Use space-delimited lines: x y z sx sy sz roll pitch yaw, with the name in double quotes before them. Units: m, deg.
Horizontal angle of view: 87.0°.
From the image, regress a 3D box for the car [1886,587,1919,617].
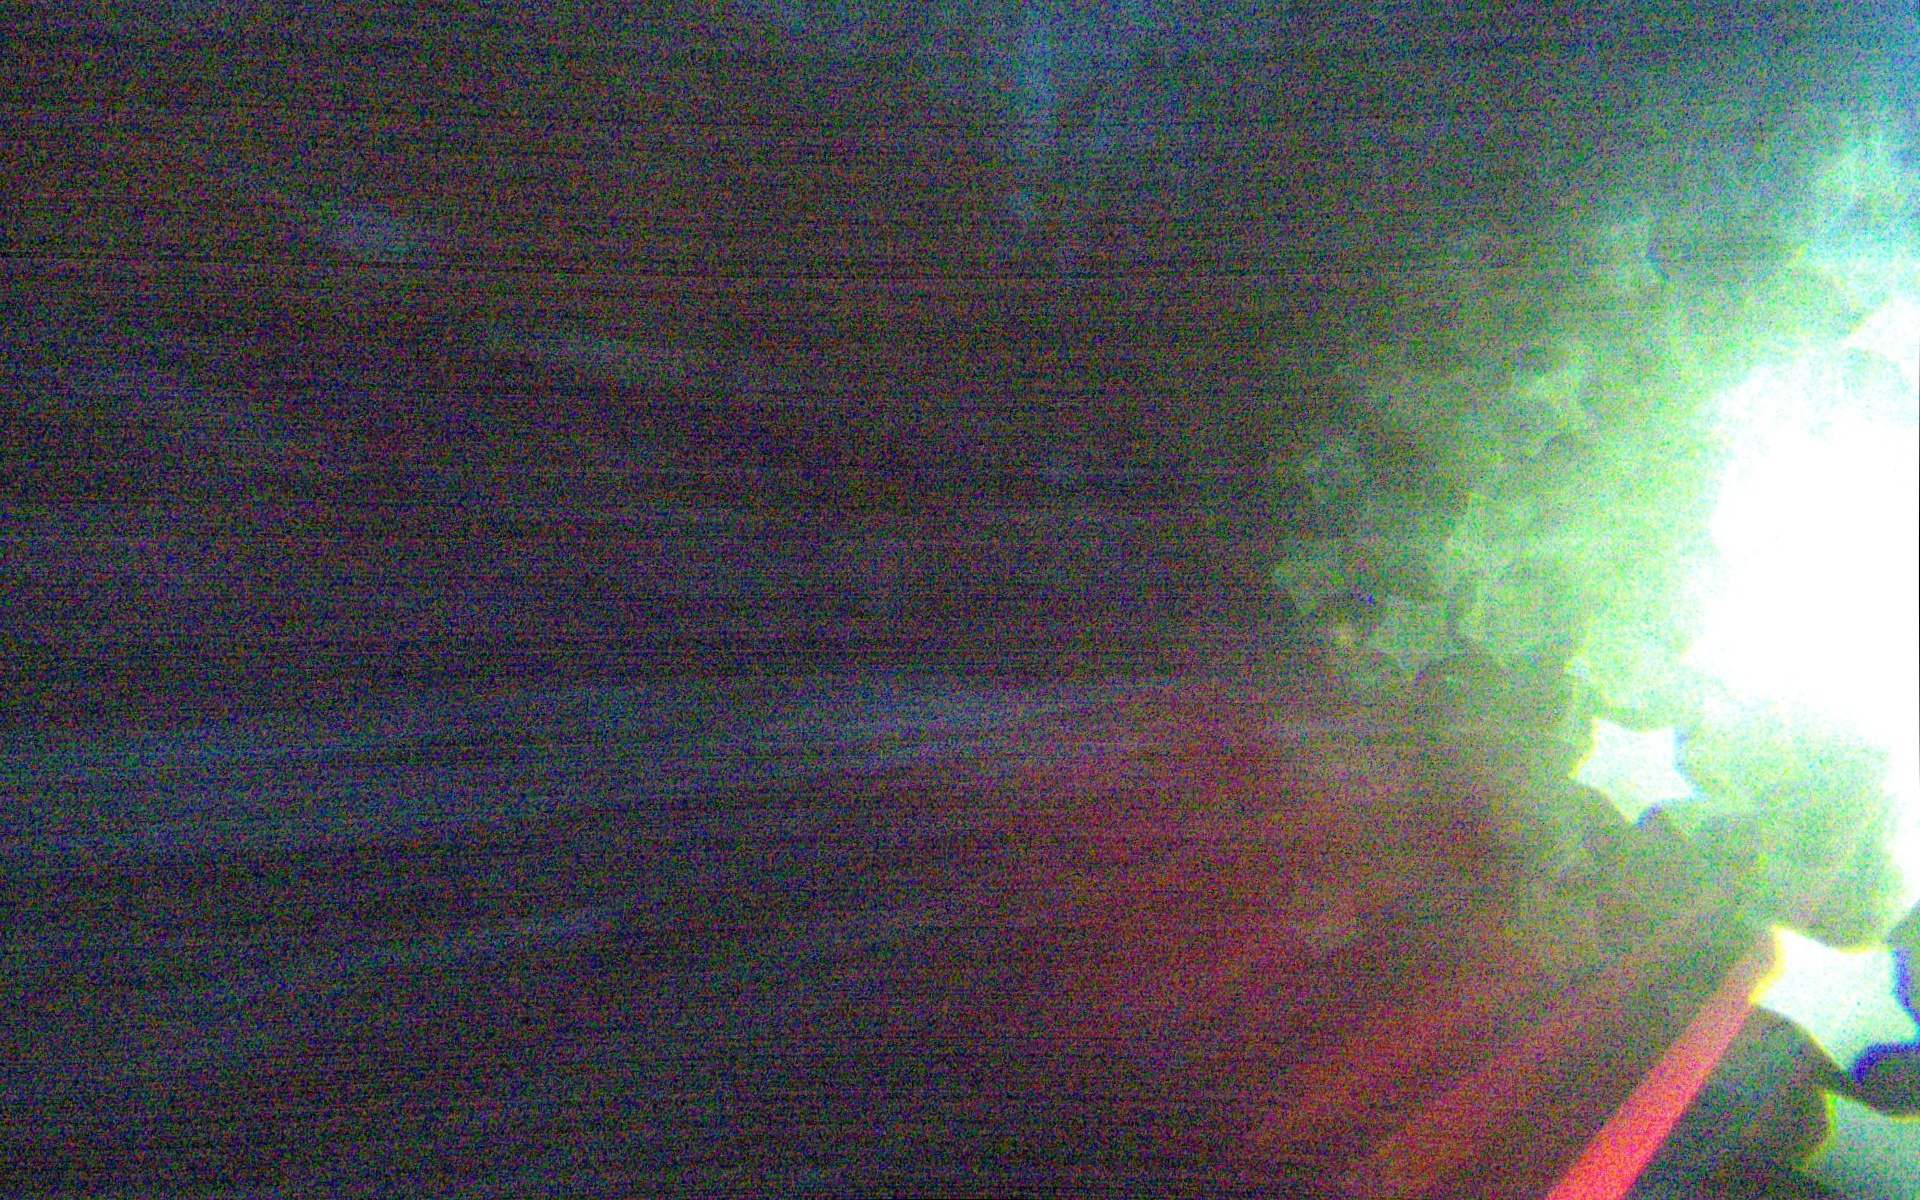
"car" 60.904 0.082 65.218 1.792 1.873 3.588 1 1 42
